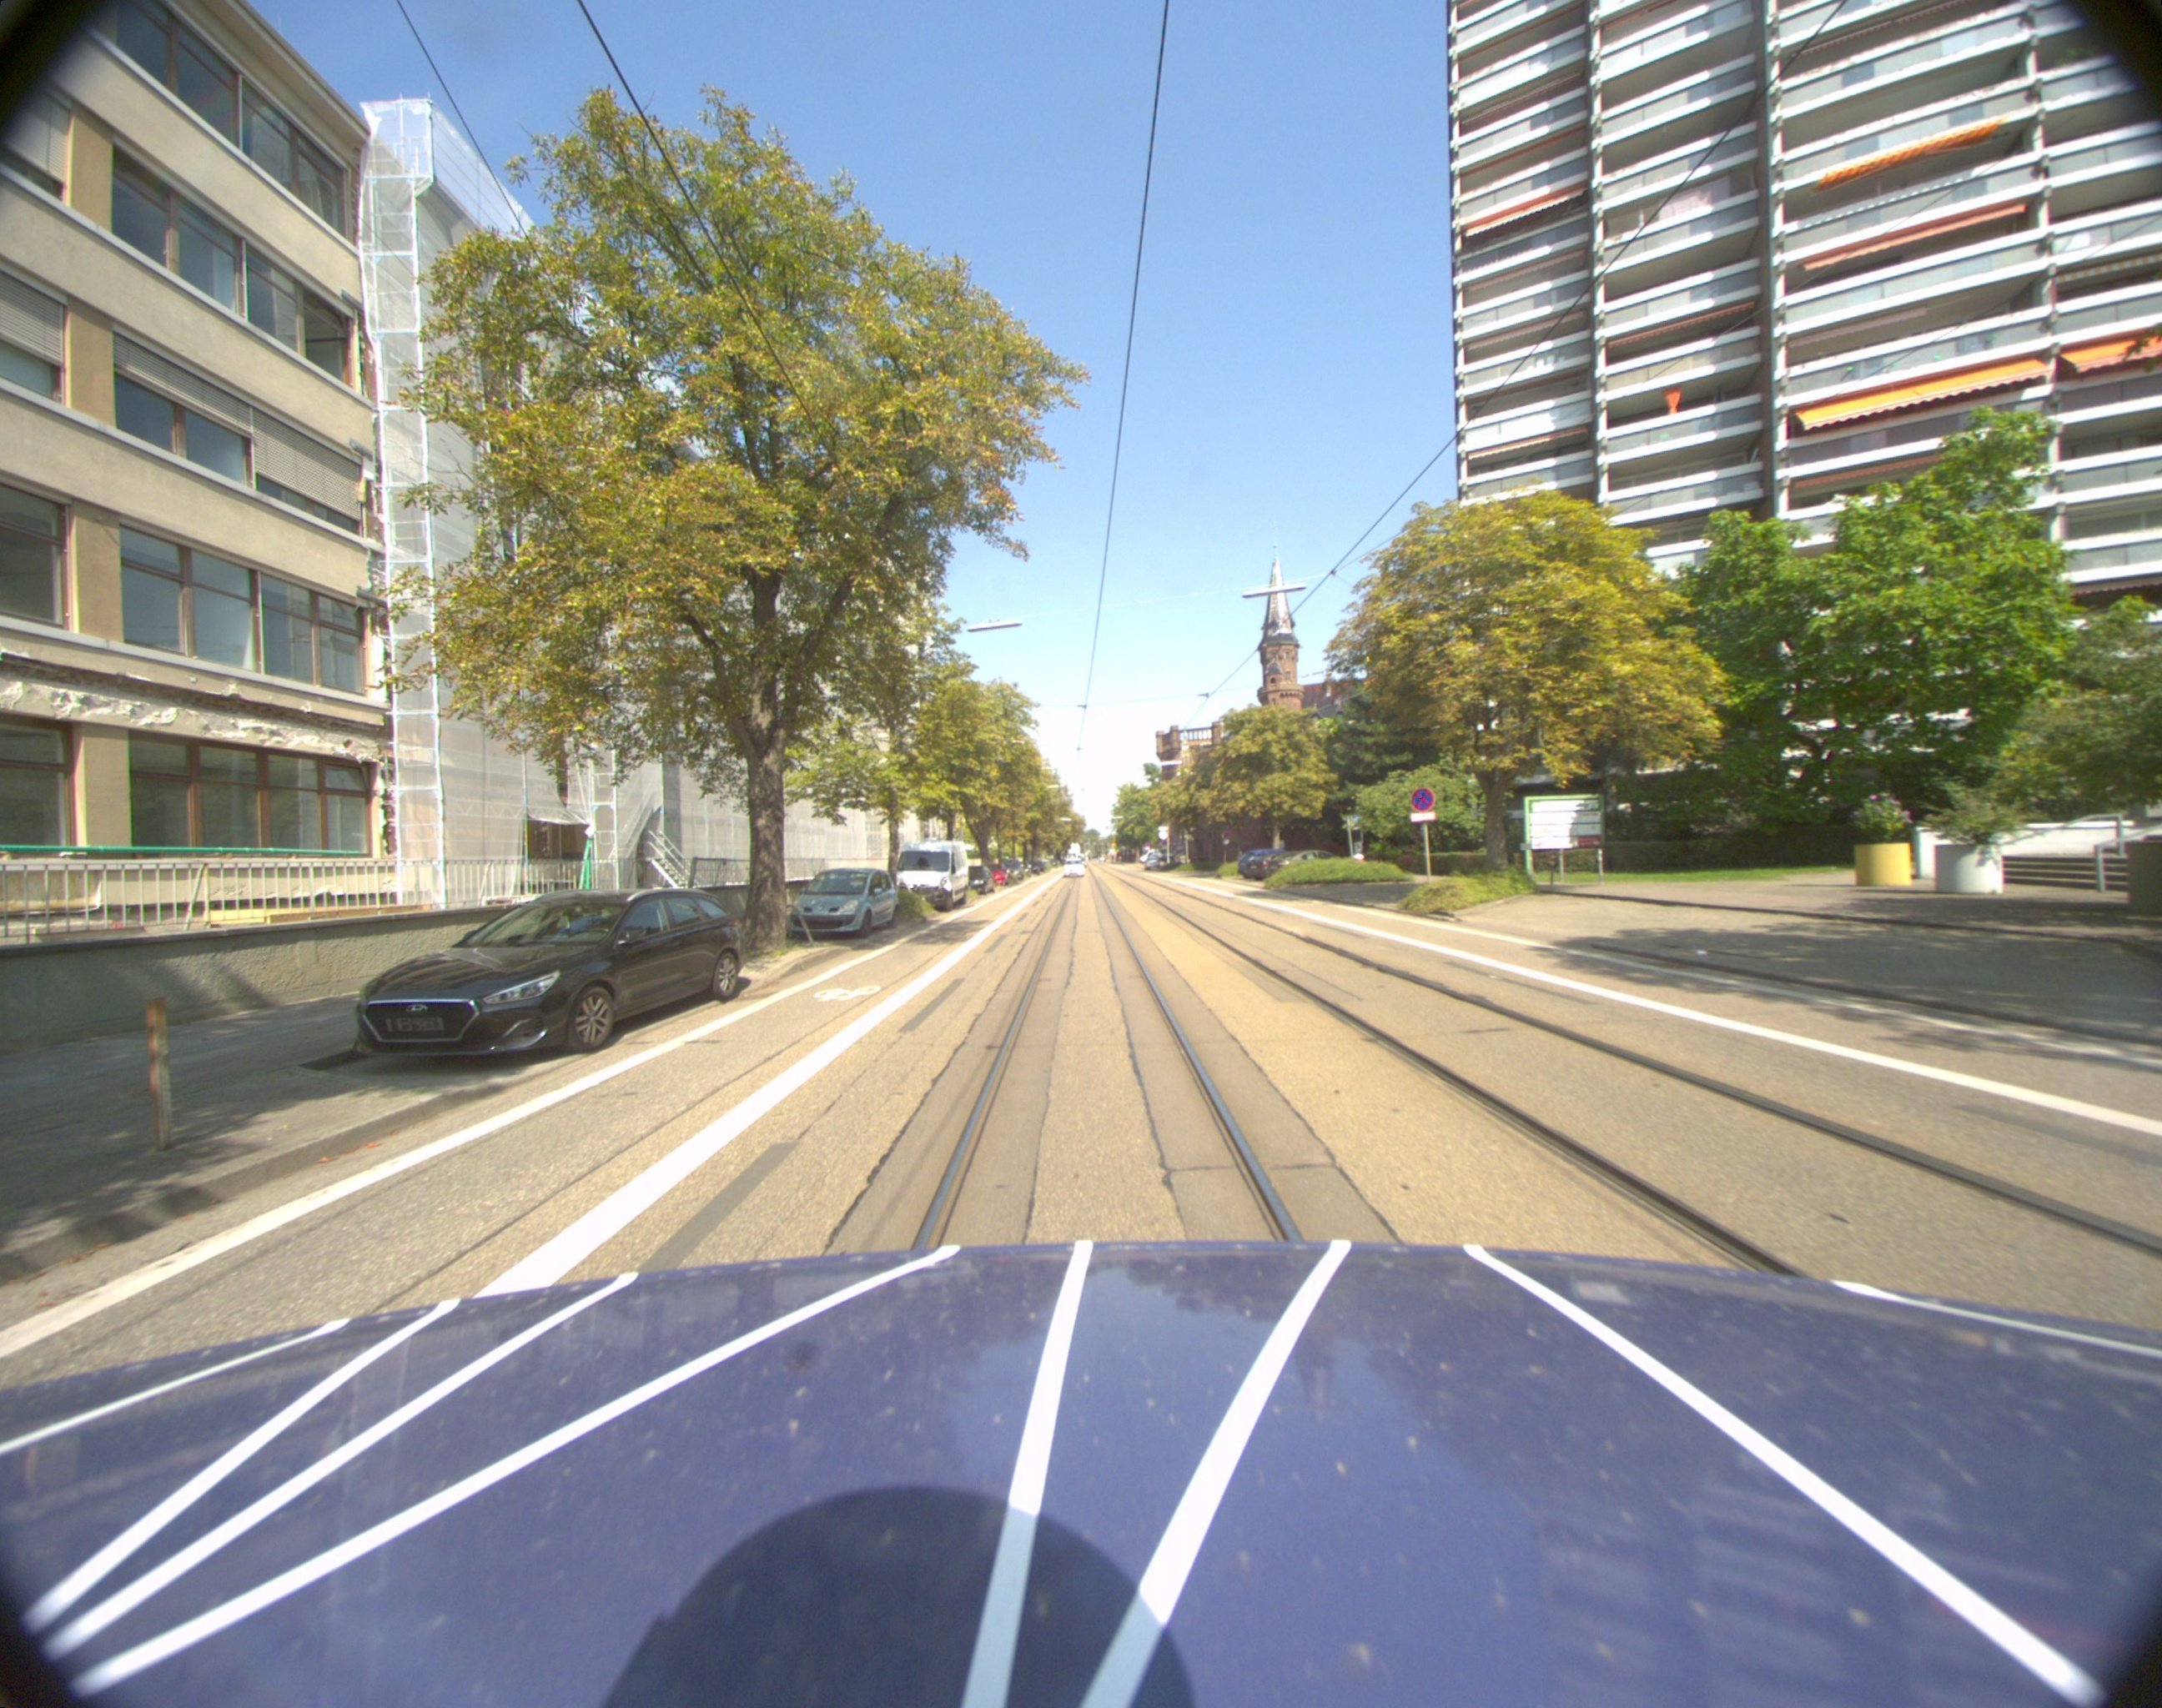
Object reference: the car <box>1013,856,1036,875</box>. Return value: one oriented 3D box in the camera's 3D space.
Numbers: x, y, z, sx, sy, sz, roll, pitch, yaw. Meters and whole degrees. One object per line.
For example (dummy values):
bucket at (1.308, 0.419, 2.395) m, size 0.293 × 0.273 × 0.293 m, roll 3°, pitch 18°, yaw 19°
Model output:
car at (-5.104, 1.043, 69.433) m, size 1.689 × 1.561 × 4.000 m, roll -2°, pitch 0°, yaw 1°

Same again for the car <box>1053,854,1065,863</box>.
car at (-4.070, 0.859, 139.281) m, size 1.998 × 1.521 × 4.000 m, roll -2°, pitch 0°, yaw 1°

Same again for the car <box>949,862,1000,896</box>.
car at (-5.215, 1.213, 37.794) m, size 1.689 × 1.432 × 4.803 m, roll -2°, pitch 0°, yaw 1°

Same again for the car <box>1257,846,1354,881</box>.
car at (10.795, 0.448, 36.506) m, size 4.301 × 1.488 × 1.777 m, roll -2°, pitch 0°, yaw -25°

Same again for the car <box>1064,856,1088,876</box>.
car at (-0.394, 0.931, 61.751) m, size 1.824 × 1.483 × 4.019 m, roll -1°, pitch 0°, yaw 1°

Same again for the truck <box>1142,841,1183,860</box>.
truck at (13.644, -0.569, 127.515) m, size 6.510 × 2.510 × 2.317 m, roll -6°, pitch 0°, yaw 1°

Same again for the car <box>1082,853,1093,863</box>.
car at (1.081, 0.610, 120.180) m, size 1.677 × 1.477 × 3.778 m, roll -1°, pitch 1°, yaw 1°

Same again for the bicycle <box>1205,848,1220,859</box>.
bicycle at (14.516, -0.037, 83.974) m, size 1.449 × 1.056 × 0.377 m, roll -7°, pitch 1°, yaw -9°

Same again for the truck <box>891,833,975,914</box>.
truck at (-5.229, 0.609, 27.687) m, size 1.922 × 2.584 × 5.591 m, roll -2°, pitch 0°, yaw -1°

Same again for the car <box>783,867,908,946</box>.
car at (-5.504, 1.163, 18.318) m, size 1.678 × 1.571 × 4.171 m, roll 0°, pitch 1°, yaw 1°

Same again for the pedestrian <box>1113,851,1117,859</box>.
pedestrian at (7.844, 0.185, 175.340) m, size 0.736 × 1.837 × 0.828 m, roll -2°, pitch 0°, yaw 1°

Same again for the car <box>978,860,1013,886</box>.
car at (-5.381, 1.166, 48.445) m, size 1.689 × 1.491 × 4.131 m, roll -2°, pitch 1°, yaw 0°

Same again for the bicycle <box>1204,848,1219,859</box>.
bicycle at (14.471, -0.035, 84.292) m, size 1.449 × 1.056 × 0.377 m, roll -7°, pitch 1°, yaw -9°

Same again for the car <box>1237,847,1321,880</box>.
car at (10.333, 0.481, 39.645) m, size 4.005 × 1.561 × 1.777 m, roll -2°, pitch 0°, yaw -26°

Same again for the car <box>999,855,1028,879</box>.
car at (-5.203, 0.969, 59.019) m, size 1.766 × 1.678 × 4.648 m, roll -2°, pitch 0°, yaw 0°

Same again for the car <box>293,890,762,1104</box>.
car at (-5.368, 1.243, 8.358) m, size 1.678 × 1.449 × 4.664 m, roll -1°, pitch 0°, yaw 1°

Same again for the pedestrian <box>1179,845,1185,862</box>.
pedestrian at (11.966, -0.075, 90.116) m, size 0.504 × 1.969 × 0.520 m, roll -1°, pitch 2°, yaw 45°

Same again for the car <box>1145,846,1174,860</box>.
car at (12.533, -0.116, 121.577) m, size 4.407 × 1.787 × 2.000 m, roll -6°, pitch 0°, yaw 3°

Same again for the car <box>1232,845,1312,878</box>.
car at (10.736, 0.400, 42.795) m, size 4.004 × 1.638 × 1.838 m, roll -2°, pitch 0°, yaw -22°

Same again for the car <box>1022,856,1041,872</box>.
car at (-5.150, 1.031, 79.709) m, size 1.645 × 1.561 × 4.084 m, roll -1°, pitch -1°, yaw 2°

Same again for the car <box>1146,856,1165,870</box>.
car at (8.757, 1.003, 89.382) m, size 1.939 × 1.493 × 4.515 m, roll -2°, pitch 0°, yaw 3°
